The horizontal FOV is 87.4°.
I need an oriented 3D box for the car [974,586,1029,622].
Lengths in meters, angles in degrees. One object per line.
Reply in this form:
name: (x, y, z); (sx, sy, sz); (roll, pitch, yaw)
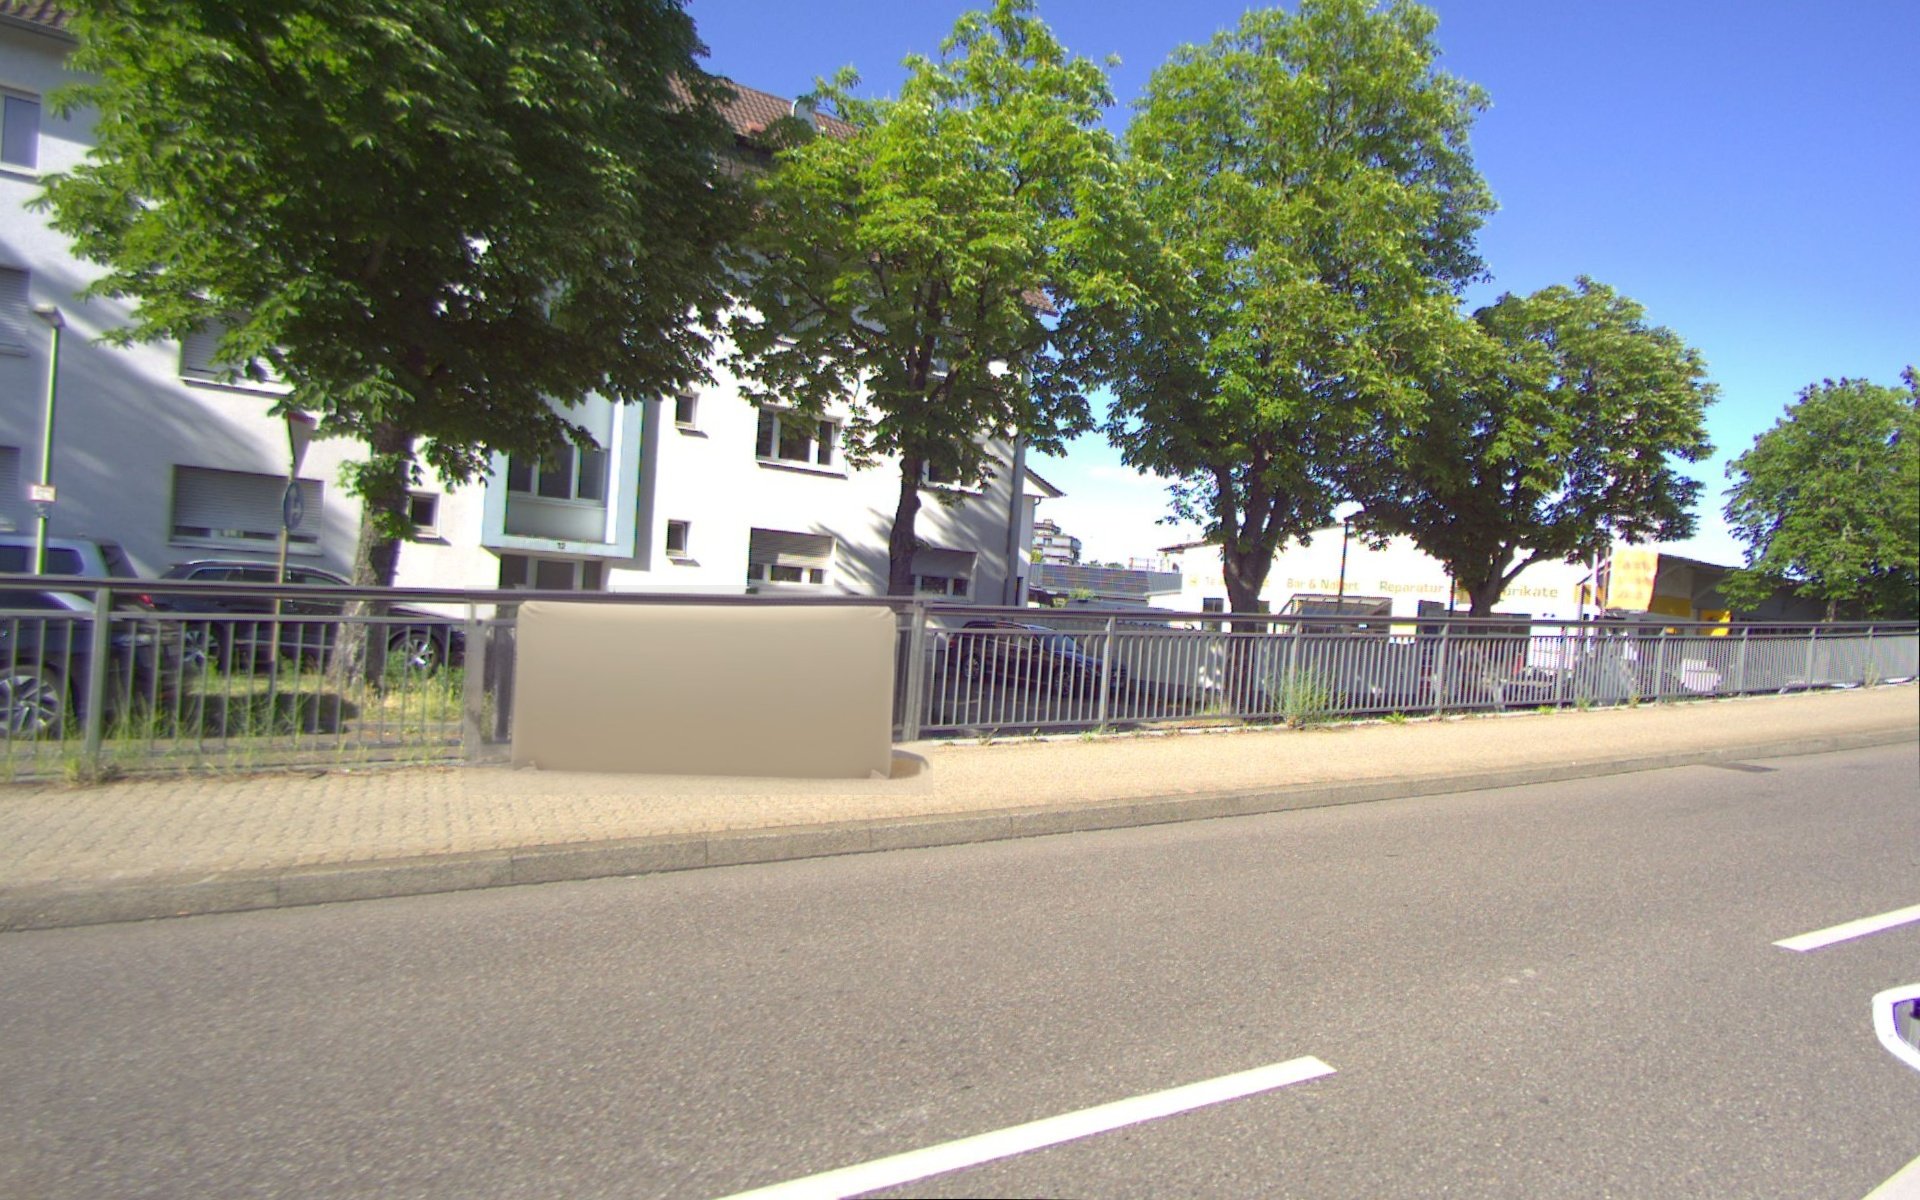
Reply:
car: (2.674, 0.282, 63.374); (1.960, 2.040, 5.294); (4, 1, 18)

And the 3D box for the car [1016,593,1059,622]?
car: (6.013, 0.592, 76.992); (1.960, 2.040, 5.294); (4, 1, 18)

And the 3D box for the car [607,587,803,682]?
car: (-5.081, 0.632, 19.924); (3.608, 1.530, 1.779); (4, 1, 35)

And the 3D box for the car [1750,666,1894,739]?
car: (27.500, 3.251, 32.036); (4.202, 2.017, 1.916); (3, 1, -27)

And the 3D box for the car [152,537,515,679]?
car: (-10.097, 0.170, 16.646); (4.730, 1.956, 2.060); (4, 0, -29)

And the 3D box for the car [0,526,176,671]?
car: (-14.491, -0.127, 14.191); (5.041, 1.956, 1.739); (4, 0, -29)

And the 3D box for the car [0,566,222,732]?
car: (-10.341, 0.379, 9.661); (4.902, 1.483, 2.028); (4, 0, -29)

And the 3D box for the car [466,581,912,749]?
car: (-3.428, 0.849, 13.004); (5.175, 1.751, 2.028); (4, 1, -30)

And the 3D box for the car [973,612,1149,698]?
car: (2.257, 1.224, 23.428); (1.880, 1.605, 3.971); (3, 1, -36)

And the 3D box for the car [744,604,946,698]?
car: (-2.460, 1.001, 20.972); (3.939, 1.619, 1.991); (3, 0, 40)

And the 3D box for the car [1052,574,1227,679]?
car: (6.159, 0.842, 33.985); (5.836, 2.591, 2.118); (-8, -3, -38)
